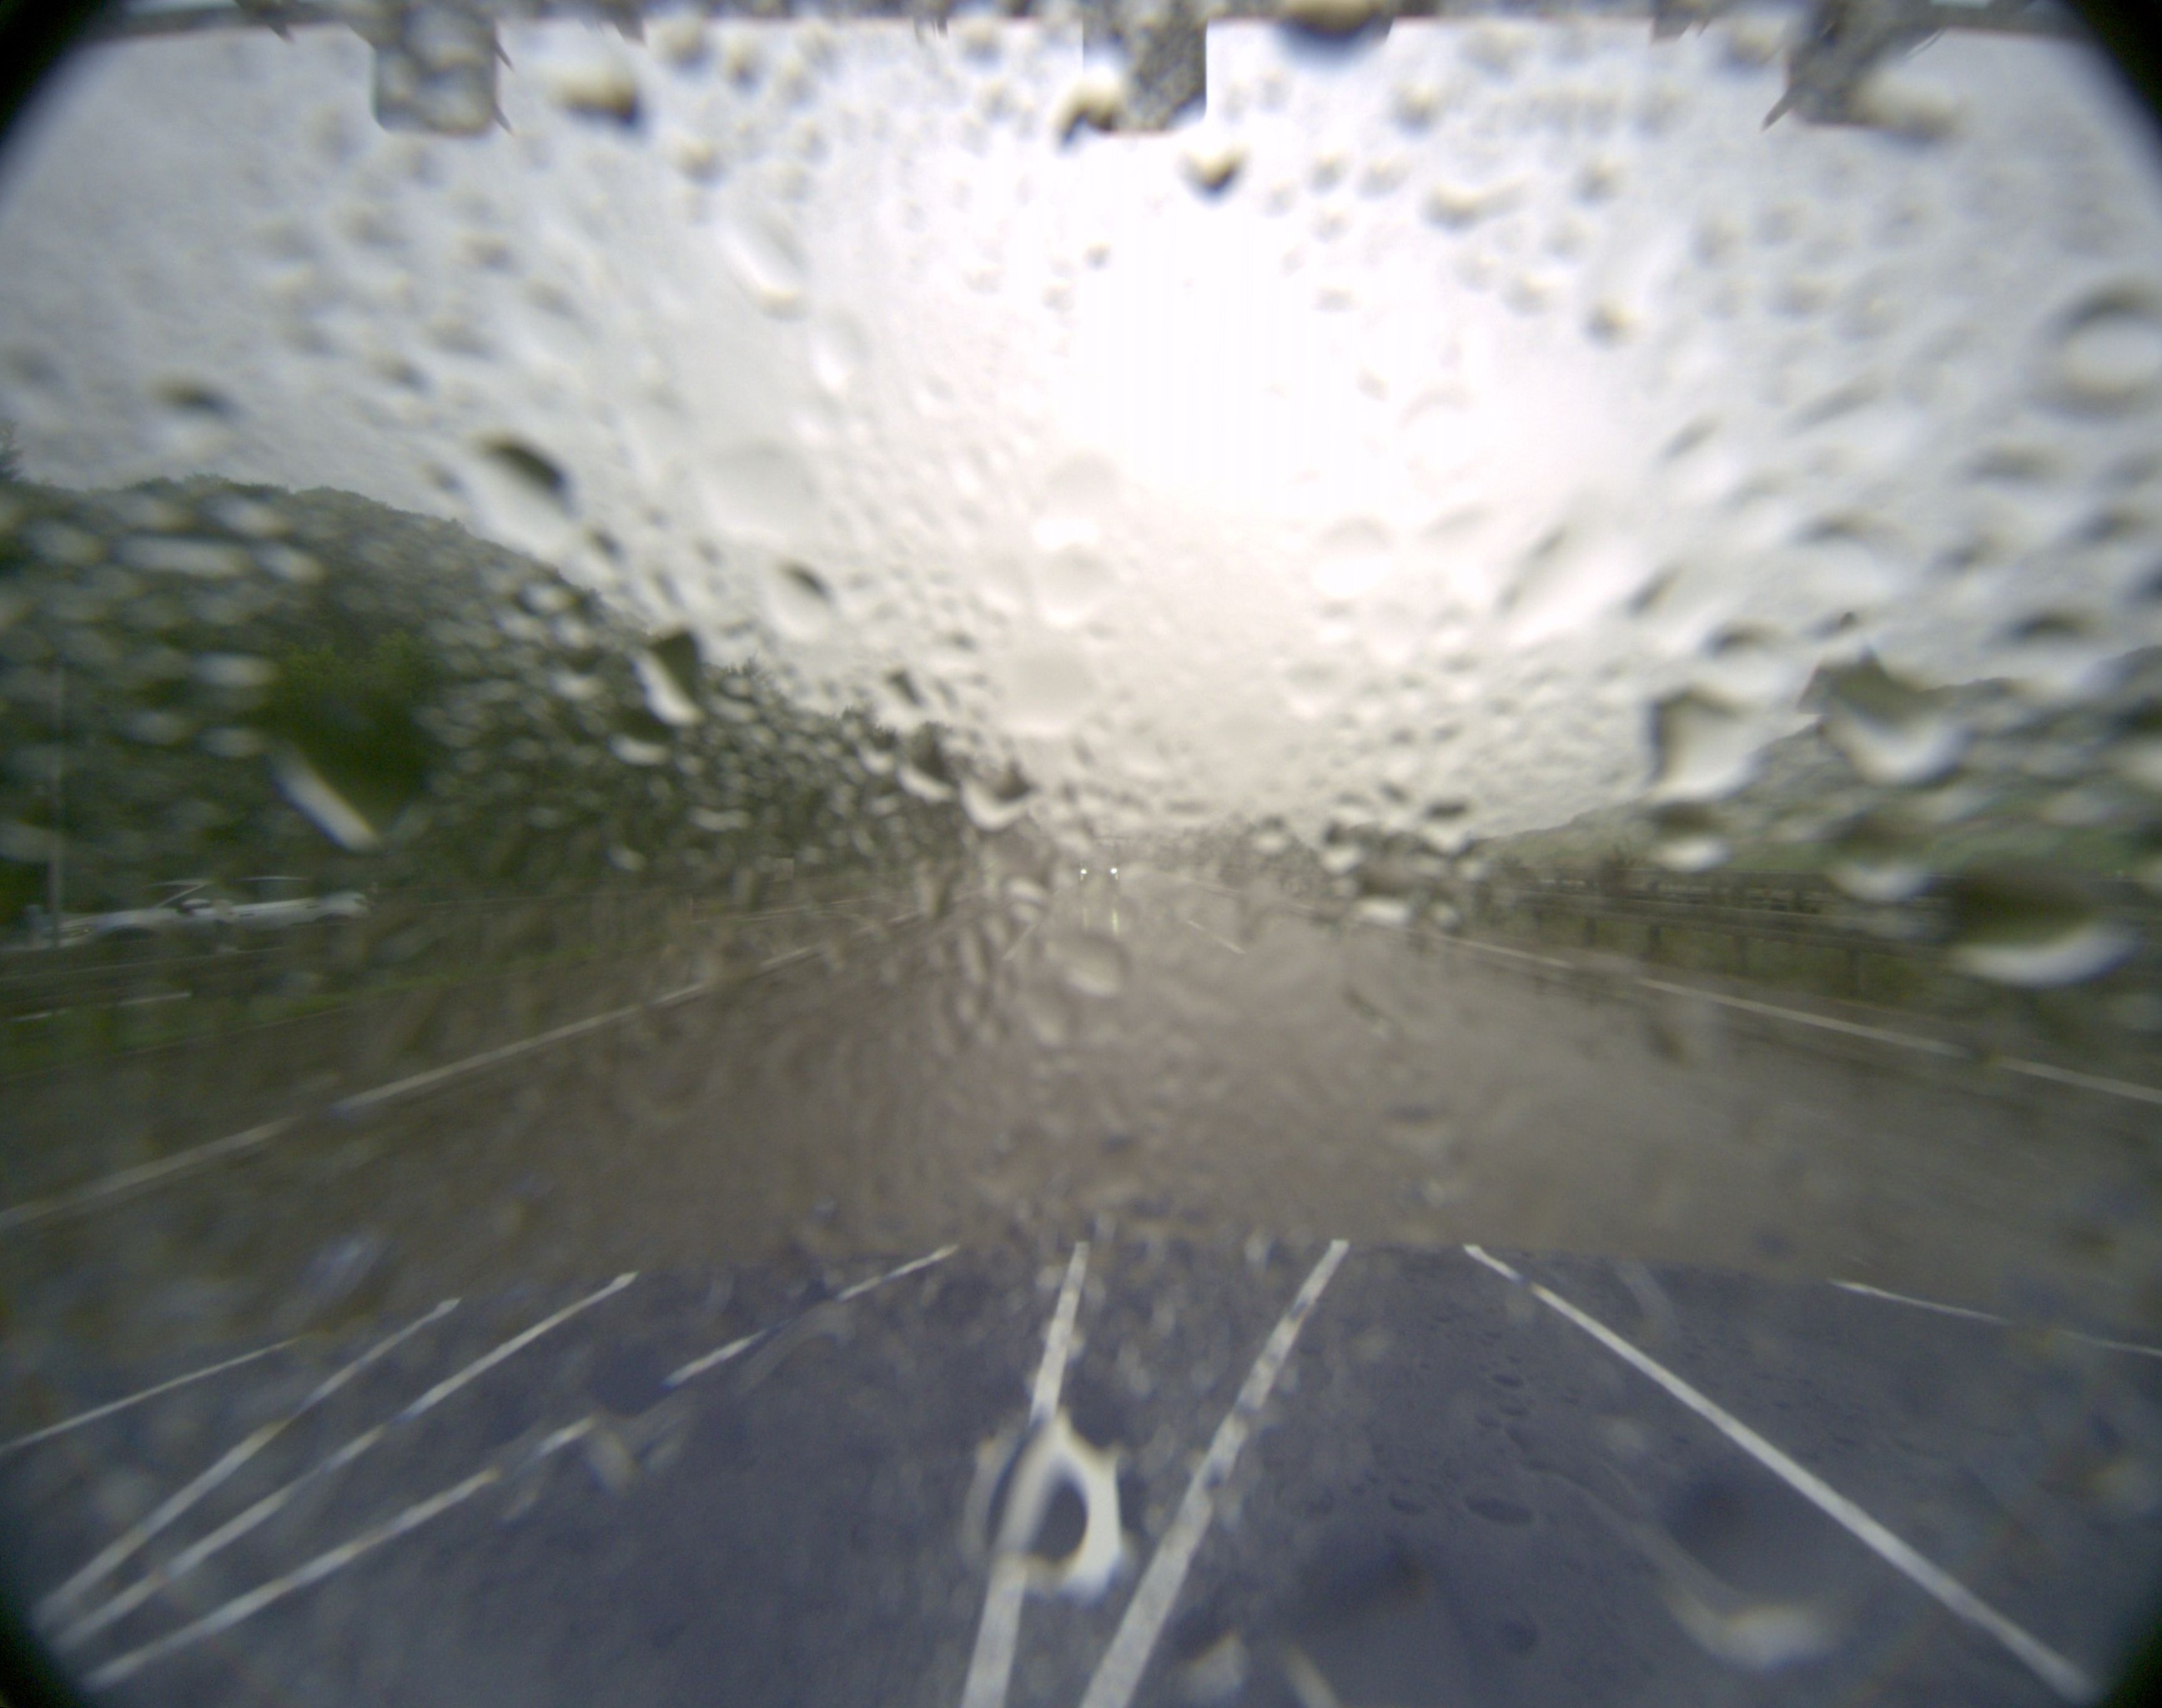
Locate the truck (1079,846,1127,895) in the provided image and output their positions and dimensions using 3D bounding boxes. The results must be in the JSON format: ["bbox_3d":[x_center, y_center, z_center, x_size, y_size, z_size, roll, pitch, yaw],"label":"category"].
[{"bbox_3d":[0.948,0.665,35.369,1.998,2.002,7.575,-1,0,1],"label":"truck"}]

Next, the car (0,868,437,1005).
[{"bbox_3d":[-15.240,1.252,13.674,1.998,1.740,5.664,-2,1,6],"label":"car"}]

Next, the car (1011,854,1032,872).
[{"bbox_3d":[-6.964,1.008,88.762,1.859,2.002,4.001,-2,0,4],"label":"car"}]
